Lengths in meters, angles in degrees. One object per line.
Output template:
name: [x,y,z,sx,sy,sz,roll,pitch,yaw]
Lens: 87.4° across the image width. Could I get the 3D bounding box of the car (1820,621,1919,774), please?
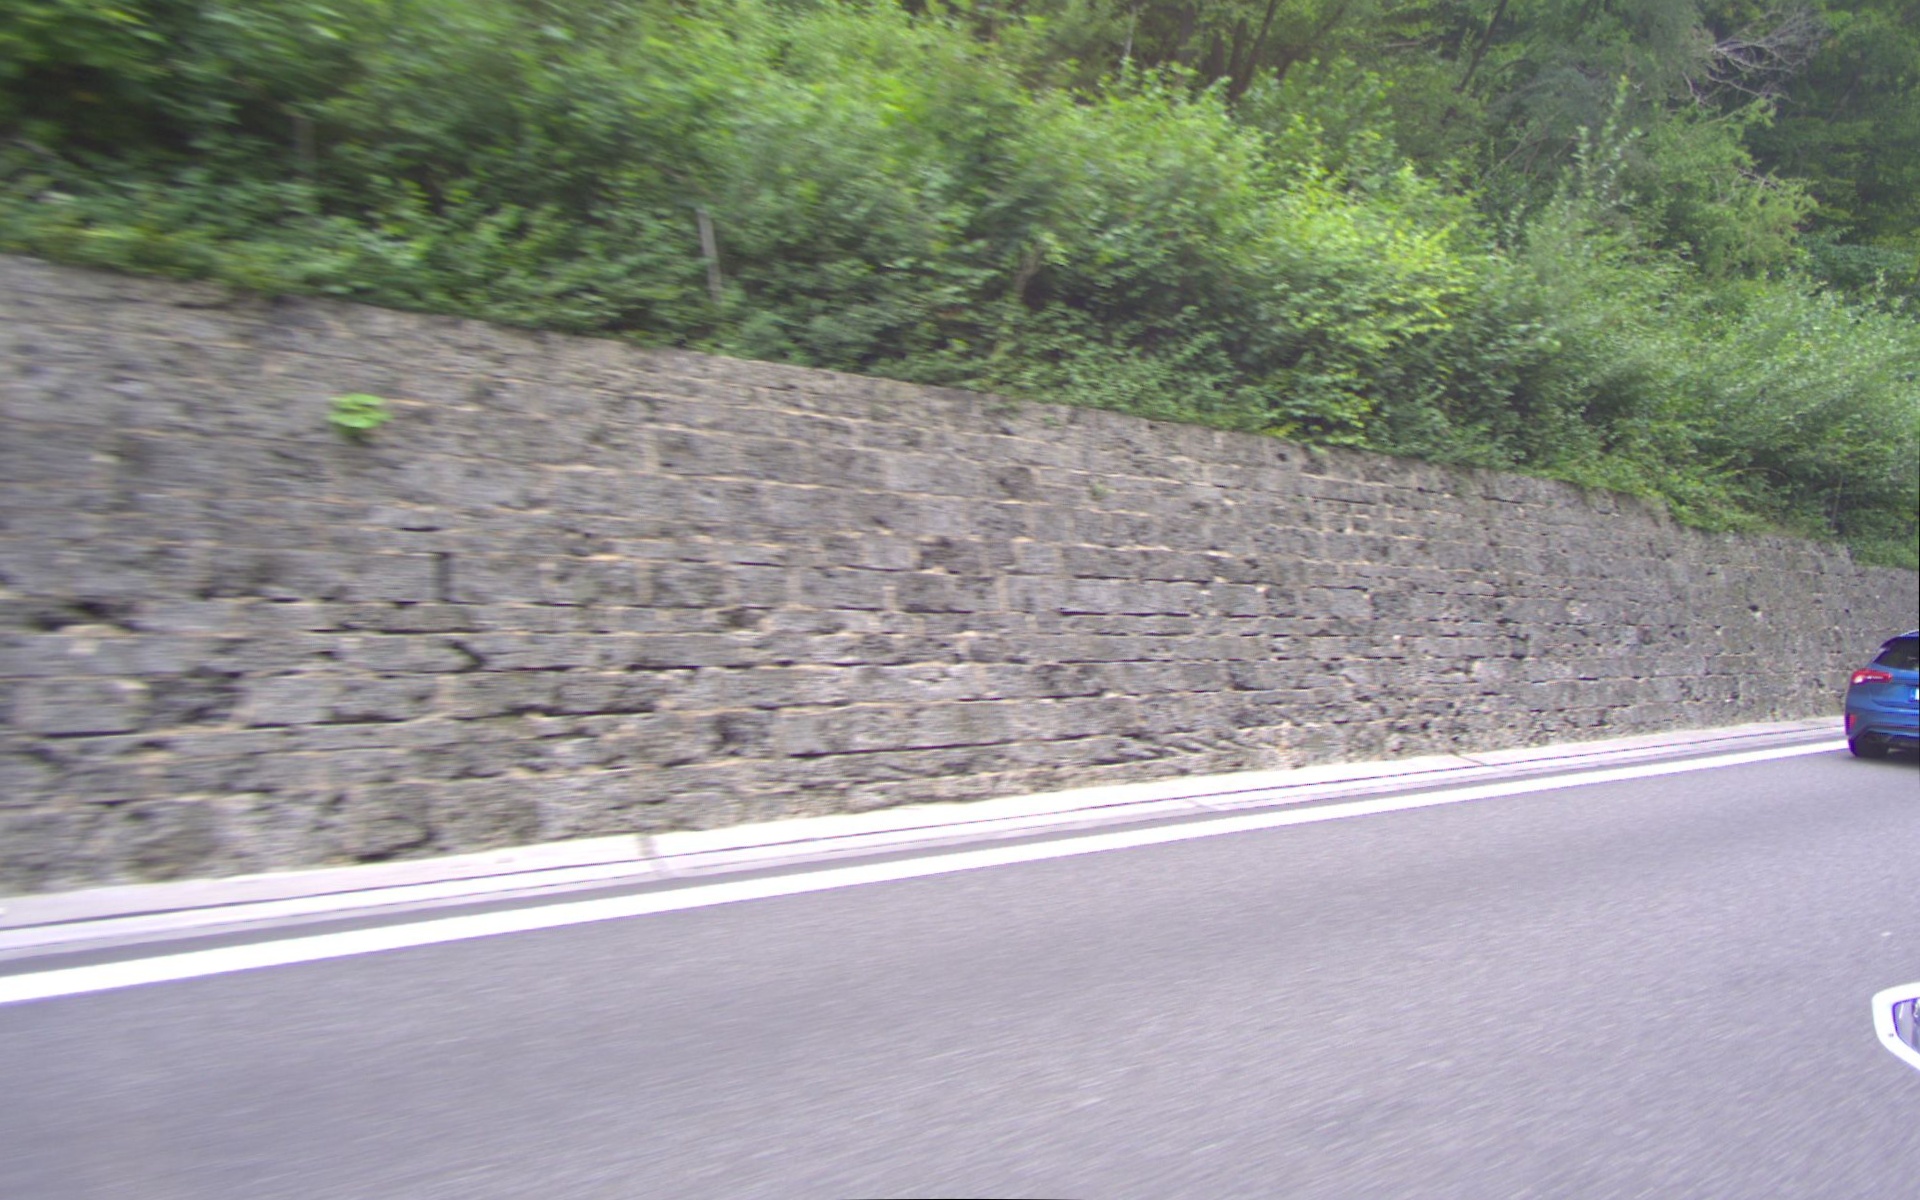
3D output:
car: [11.541,1.043,11.061,4.503,1.488,1.826,2,0,-31]
